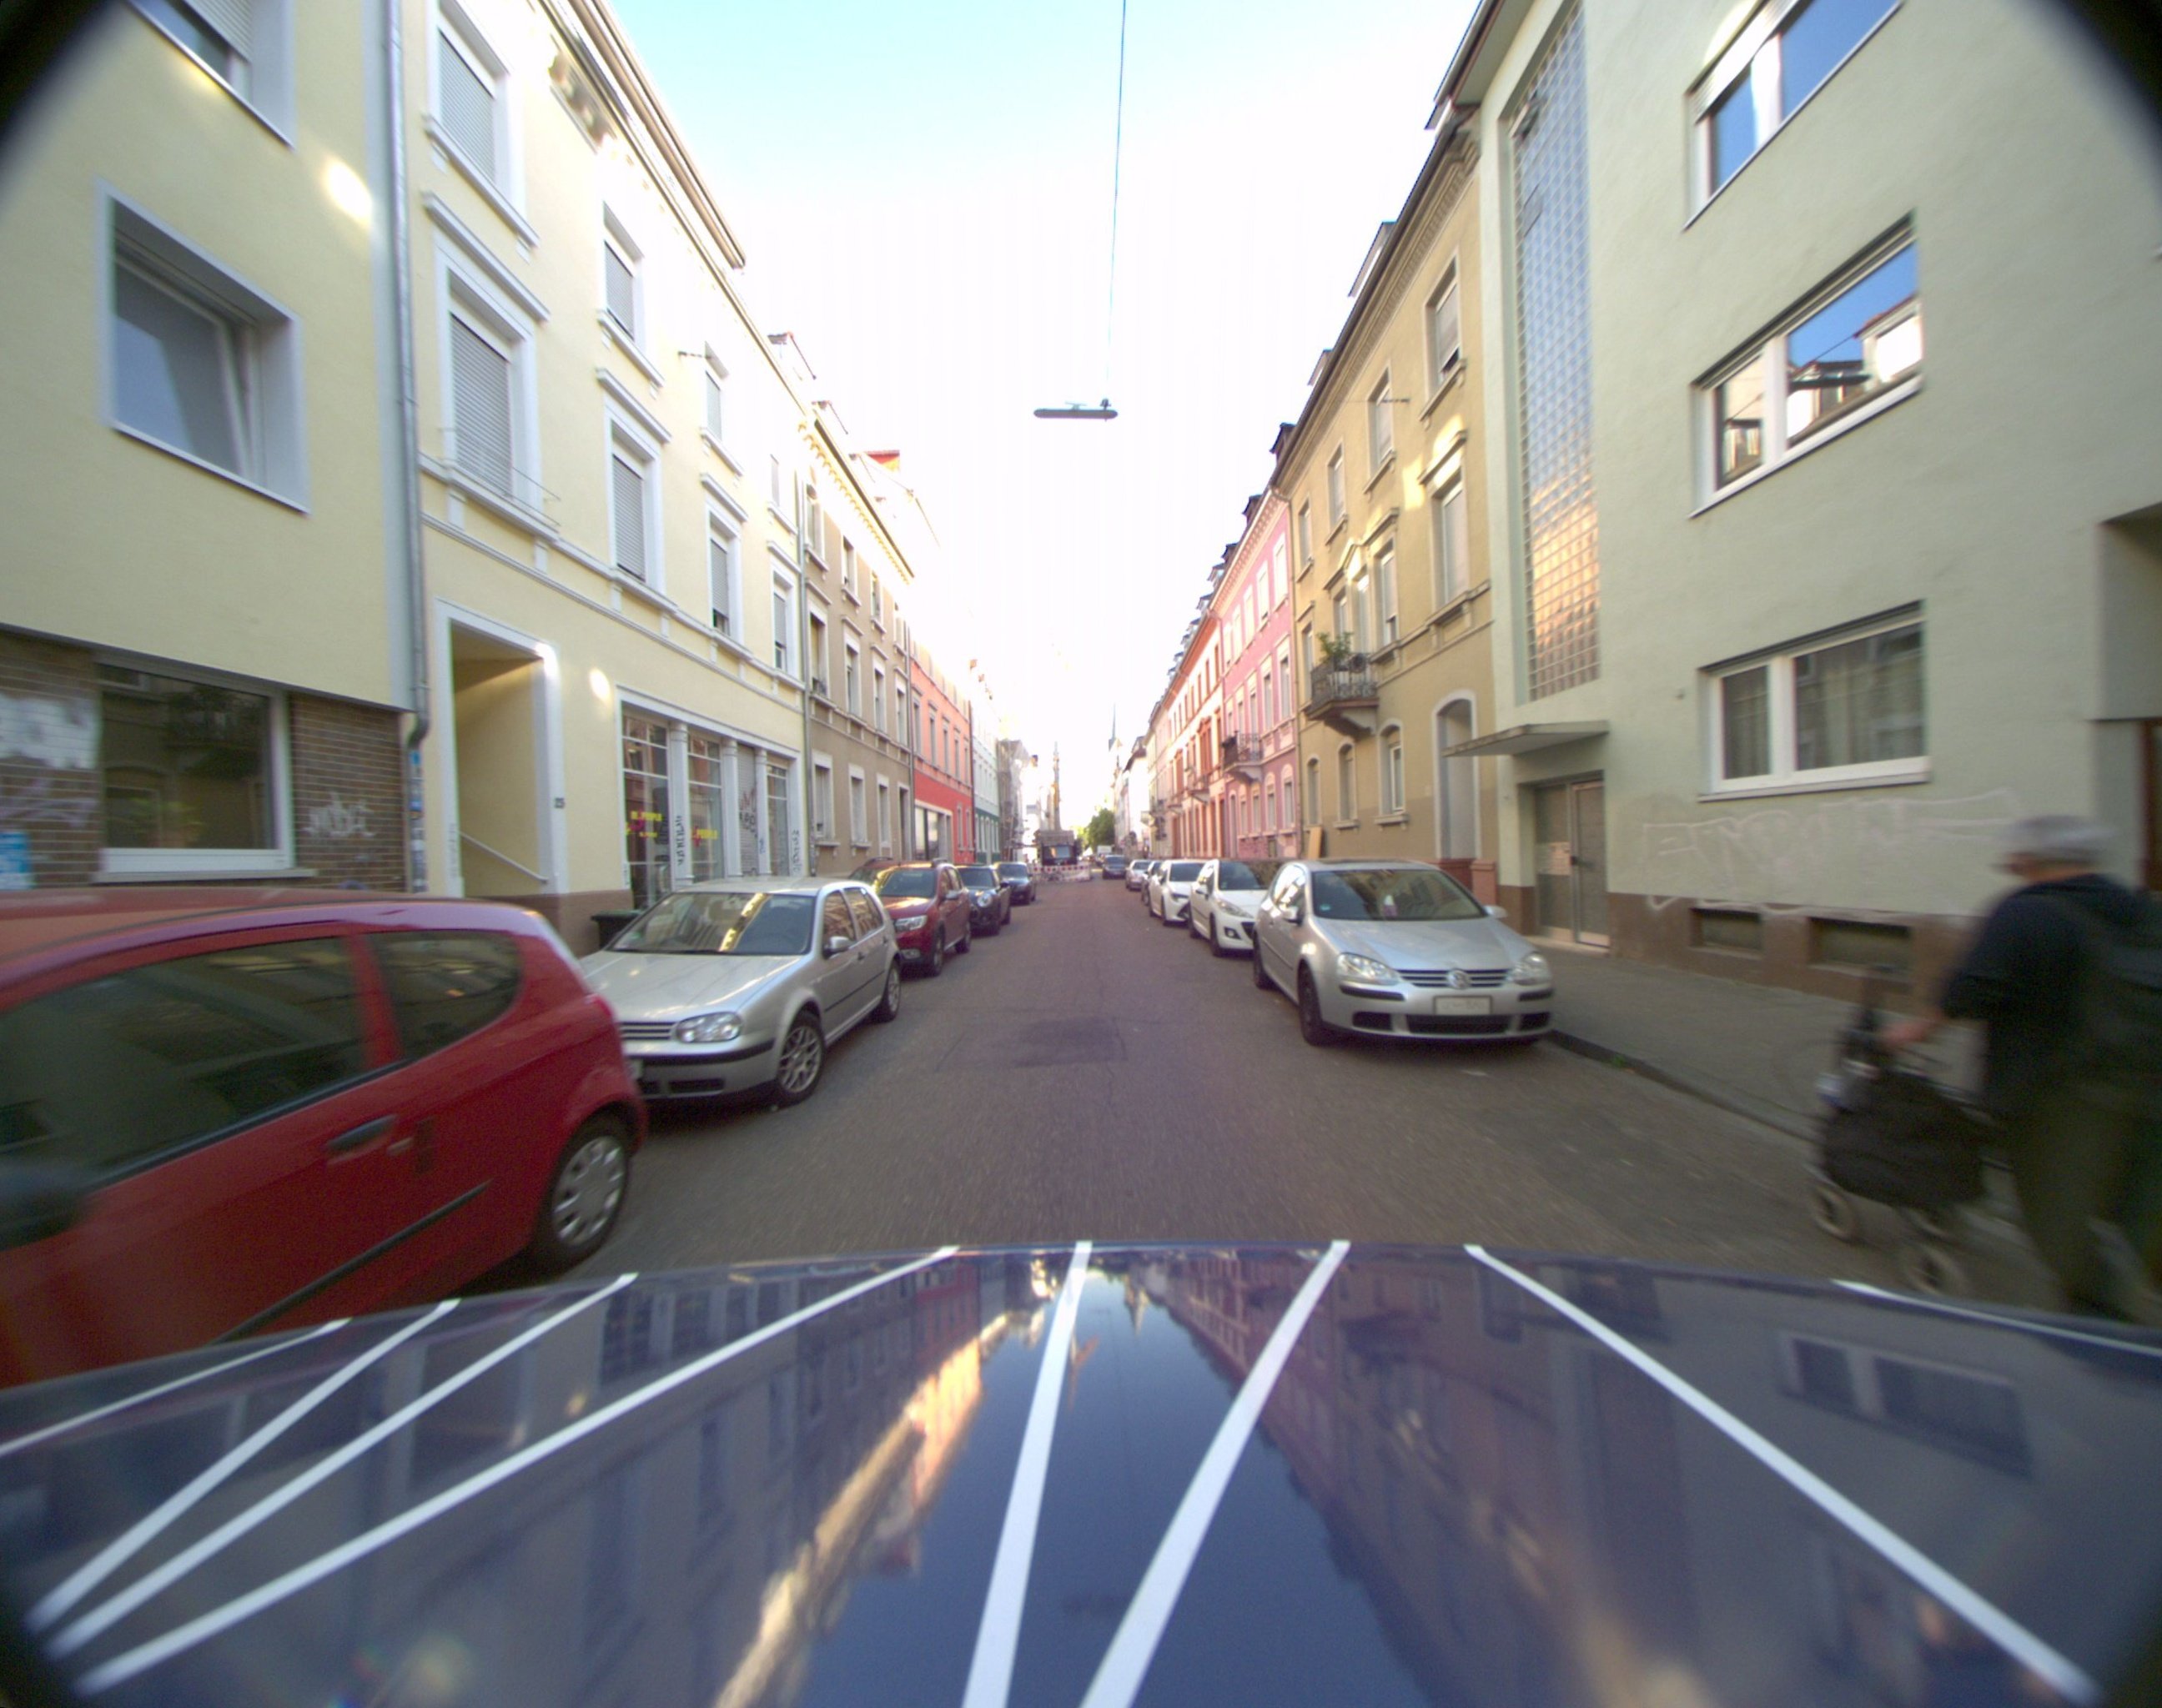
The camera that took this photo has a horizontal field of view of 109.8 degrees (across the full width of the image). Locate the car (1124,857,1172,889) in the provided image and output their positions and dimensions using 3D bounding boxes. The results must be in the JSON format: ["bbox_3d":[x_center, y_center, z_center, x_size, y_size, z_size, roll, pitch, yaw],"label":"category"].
[{"bbox_3d":[3.016,0.823,34.814,1.771,1.335,4.380,0,0,0],"label":"car"}]

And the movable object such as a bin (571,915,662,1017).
[{"bbox_3d":[-5.429,1.298,8.910,0.665,1.092,0.557,-3,1,2],"label":"movable object such as a bin"}]

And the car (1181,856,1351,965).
[{"bbox_3d":[2.823,0.792,12.494,1.794,1.443,4.000,-2,0,0],"label":"car"}]

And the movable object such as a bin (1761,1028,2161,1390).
[{"bbox_3d":[2.962,1.114,2.524,0.846,0.892,0.585,-3,1,1],"label":"movable object such as a bin"}]

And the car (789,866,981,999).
[{"bbox_3d":[-2.715,1.017,11.505,1.794,1.542,4.000,-2,0,1],"label":"car"}]

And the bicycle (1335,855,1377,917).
[{"bbox_3d":[5.877,0.665,16.304,0.319,1.253,1.494,-3,0,0],"label":"bicycle"}]

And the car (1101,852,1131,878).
[{"bbox_3d":[2.316,0.708,51.163,1.832,1.650,4.213,-1,0,1],"label":"car"}]

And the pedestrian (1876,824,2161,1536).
[{"bbox_3d":[2.927,0.780,2.094,0.715,1.698,0.672,-3,1,0],"label":"pedestrian"}]

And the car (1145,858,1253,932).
[{"bbox_3d":[2.574,0.835,17.508,1.792,1.454,4.199,-1,0,-1],"label":"car"}]

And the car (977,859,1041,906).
[{"bbox_3d":[-2.517,0.968,27.434,1.831,1.474,4.464,-1,0,0],"label":"car"}]

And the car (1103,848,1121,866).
[{"bbox_3d":[3.598,0.344,89.883,1.998,2.002,4.258,-1,0,1],"label":"car"}]

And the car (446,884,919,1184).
[{"bbox_3d":[-2.611,1.061,6.237,1.692,1.444,4.193,0,0,-1],"label":"car"}]

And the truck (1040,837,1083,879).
[{"bbox_3d":[-1.362,0.260,56.367,2.819,2.735,7.677,-4,0,0],"label":"truck"}]

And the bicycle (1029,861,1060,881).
[{"bbox_3d":[-2.214,1.038,46.068,1.713,1.130,0.470,-4,1,-11],"label":"bicycle"}]

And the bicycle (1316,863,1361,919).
[{"bbox_3d":[5.492,0.759,16.251,0.418,1.095,1.494,-3,0,0],"label":"bicycle"}]

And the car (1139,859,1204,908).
[{"bbox_3d":[2.820,0.871,24.441,1.730,1.383,4.303,0,0,2],"label":"car"}]

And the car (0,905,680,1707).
[{"bbox_3d":[-2.792,1.008,1.579,1.701,1.514,3.980,0,0,2],"label":"car"}]

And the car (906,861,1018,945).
[{"bbox_3d":[-2.524,0.996,17.198,1.766,1.513,4.380,-3,0,0],"label":"car"}]

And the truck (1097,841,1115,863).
[{"bbox_3d":[3.885,-0.342,118.523,2.524,3.271,6.642,-2,0,1],"label":"truck"}]

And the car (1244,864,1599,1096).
[{"bbox_3d":[2.652,0.852,6.986,1.684,1.446,4.034,-1,0,4],"label":"car"}]

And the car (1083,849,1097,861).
[{"bbox_3d":[1.431,0.112,122.312,1.998,1.749,4.255,-4,0,0],"label":"car"}]
